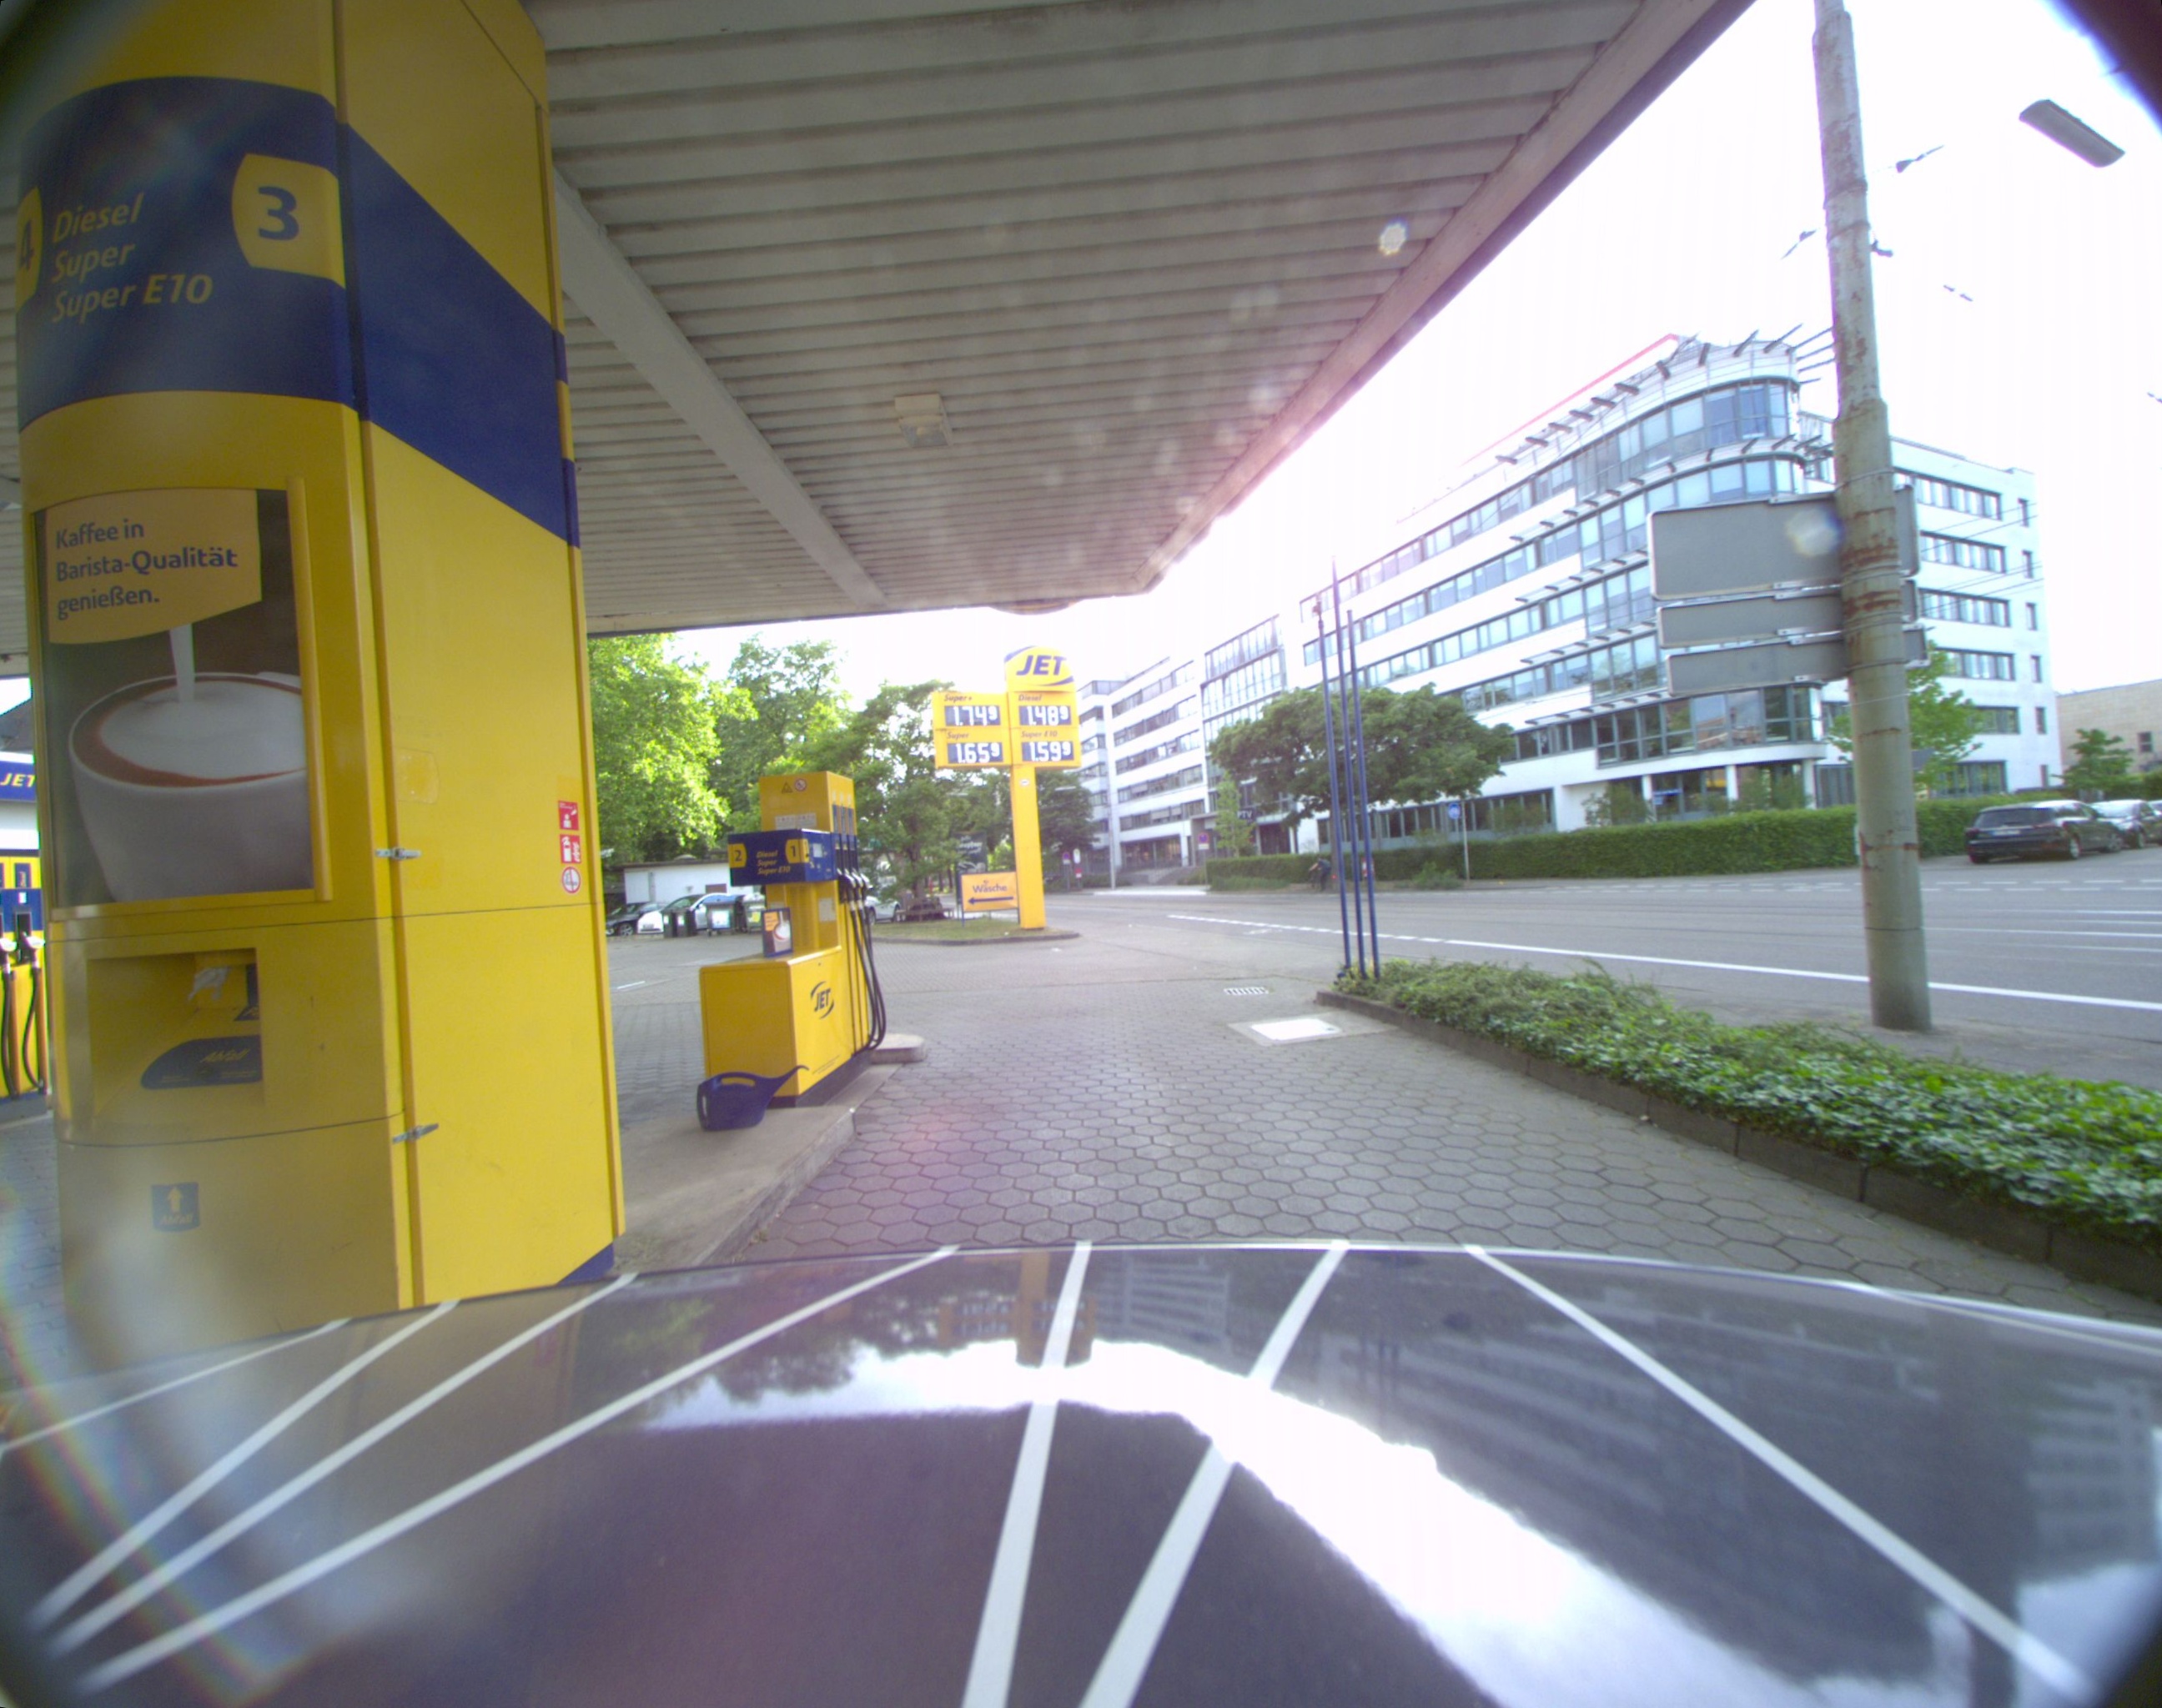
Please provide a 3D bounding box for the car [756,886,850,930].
[{"bbox_3d":[-11.745,2.252,32.462,1.823,1.575,4.200,-4,-2,10],"label":"car"}]

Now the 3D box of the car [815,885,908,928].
[{"bbox_3d":[-8.655,2.036,30.374,1.823,1.449,4.200,-4,-2,10],"label":"car"}]

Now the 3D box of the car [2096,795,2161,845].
[{"bbox_3d":[37.107,-1.249,26.013,4.201,1.568,1.820,-4,-1,-24],"label":"car"}]

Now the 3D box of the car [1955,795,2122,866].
[{"bbox_3d":[27.420,-0.668,21.754,4.397,1.678,1.820,-4,-1,-24],"label":"car"}]

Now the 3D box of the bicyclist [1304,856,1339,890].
[{"bbox_3d":[10.591,0.821,33.470,0.792,1.443,1.173,-3,1,-29],"label":"bicyclist"}]

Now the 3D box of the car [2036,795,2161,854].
[{"bbox_3d":[32.578,-0.956,24.065,4.201,1.568,1.820,-4,-1,-24],"label":"car"}]

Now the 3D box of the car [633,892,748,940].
[{"bbox_3d":[-15.388,2.399,30.250,1.823,1.575,4.200,-4,-2,10],"label":"car"}]

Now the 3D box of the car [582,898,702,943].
[{"bbox_3d":[-17.533,2.617,30.605,1.823,1.426,4.200,-4,-2,10],"label":"car"}]

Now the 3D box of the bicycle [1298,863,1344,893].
[{"bbox_3d":[10.563,1.049,33.544,0.792,1.232,1.878,-3,1,-29],"label":"bicycle"}]
